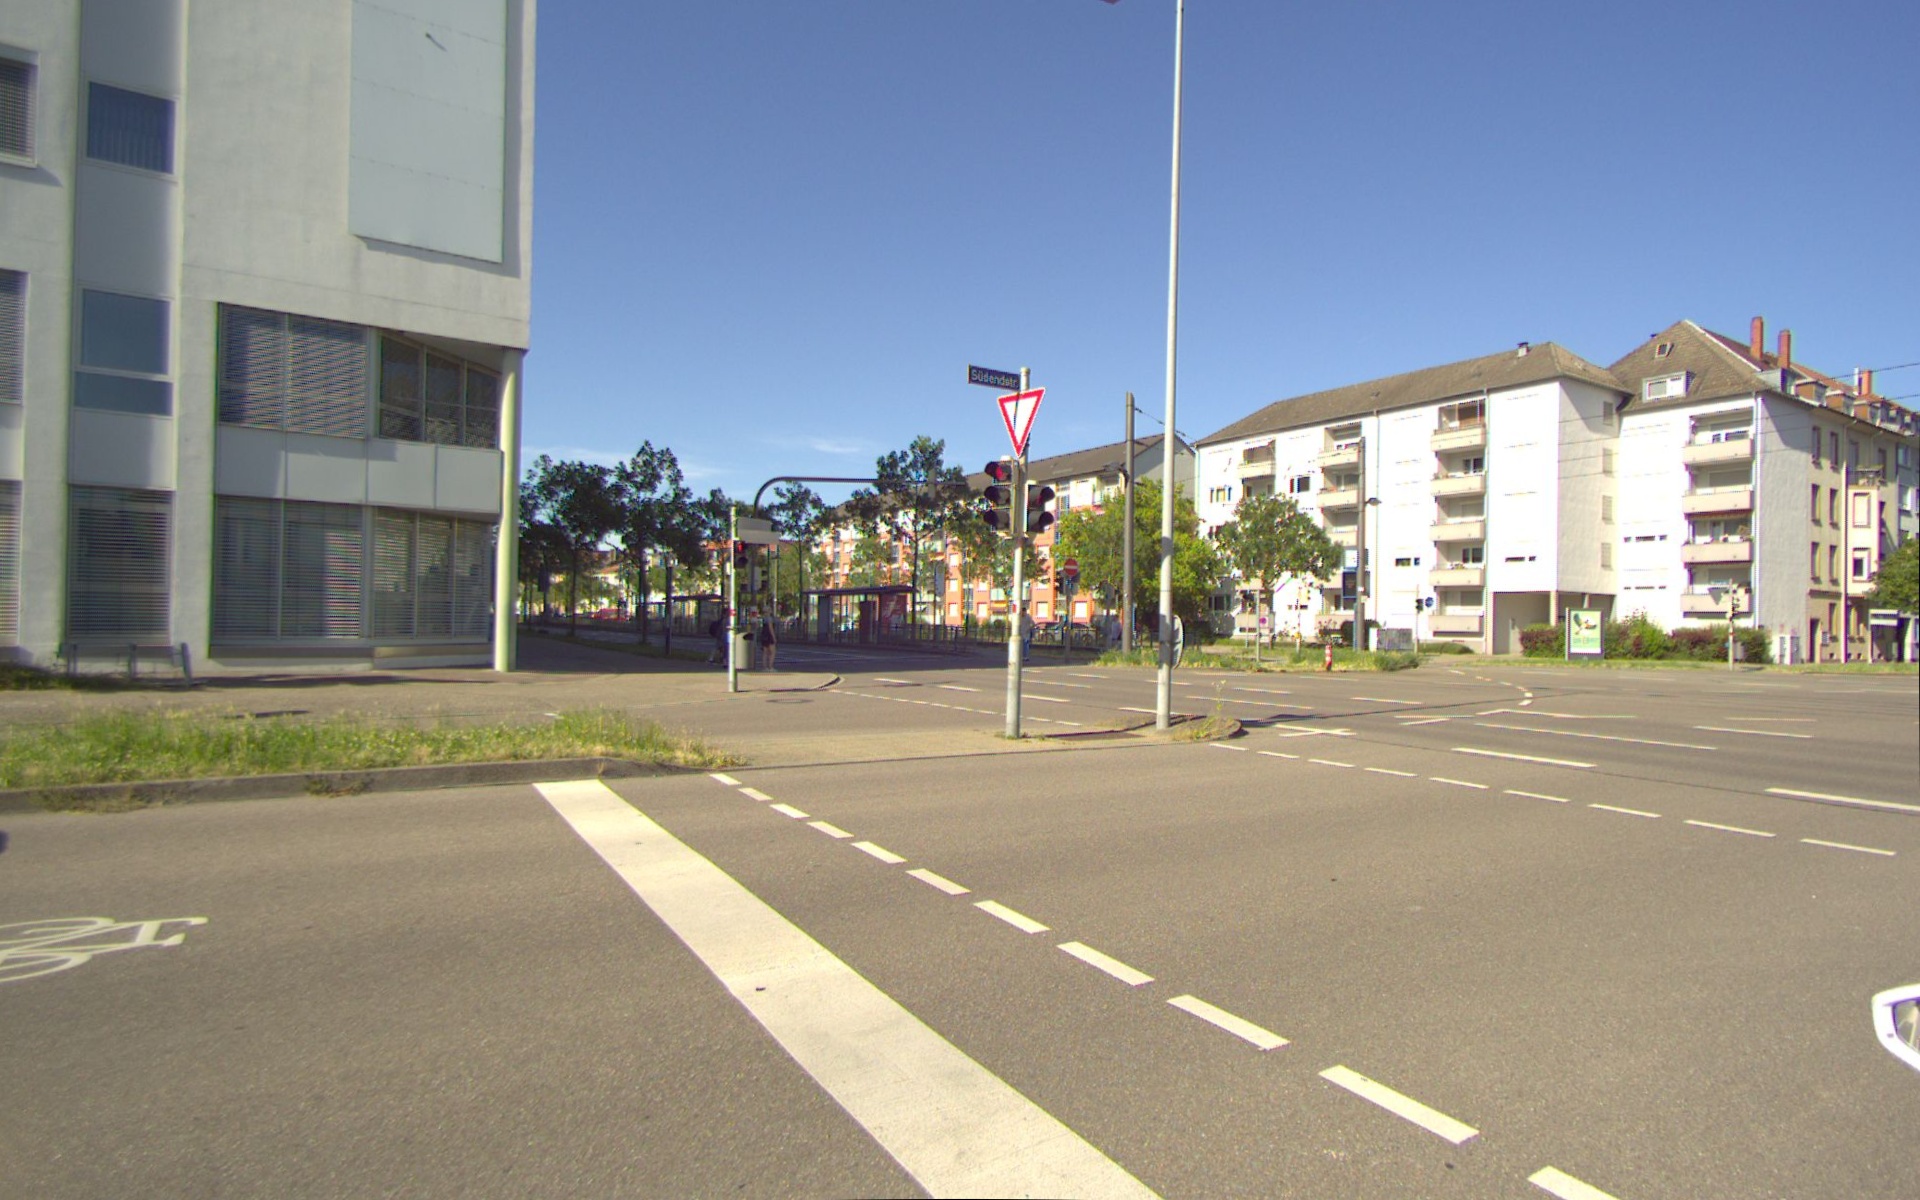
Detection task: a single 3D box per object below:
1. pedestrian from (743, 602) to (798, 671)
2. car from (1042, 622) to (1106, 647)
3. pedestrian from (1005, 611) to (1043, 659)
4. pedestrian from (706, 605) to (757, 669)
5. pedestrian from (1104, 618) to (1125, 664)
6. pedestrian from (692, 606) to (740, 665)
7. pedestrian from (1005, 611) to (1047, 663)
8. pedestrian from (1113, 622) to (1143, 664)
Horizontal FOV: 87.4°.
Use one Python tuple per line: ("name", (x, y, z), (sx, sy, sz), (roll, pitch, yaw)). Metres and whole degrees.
("pedestrian", (-4.937, 0.946, 26.118), (1.144, 1.749, 0.804), (2, -2, -37))
("car", (7.939, 2.372, 69.896), (4.311, 1.451, 1.694), (3, 1, 6))
("pedestrian", (2.380, 1.295, 37.254), (1.144, 1.749, 0.804), (2, -2, -37))
("pedestrian", (-6.406, 1.038, 28.123), (1.144, 1.749, 0.804), (2, -2, -37))
("pedestrian", (5.998, 1.596, 38.938), (0.797, 1.749, 1.155), (1, -1, 9))
("pedestrian", (-7.387, 1.086, 30.420), (1.144, 1.749, 0.804), (2, -2, -37))
("pedestrian", (2.337, 1.313, 35.394), (1.144, 1.794, 0.914), (2, -2, -37))
("pedestrian", (6.303, 1.631, 37.791), (0.850, 1.554, 0.719), (2, -2, -37))
